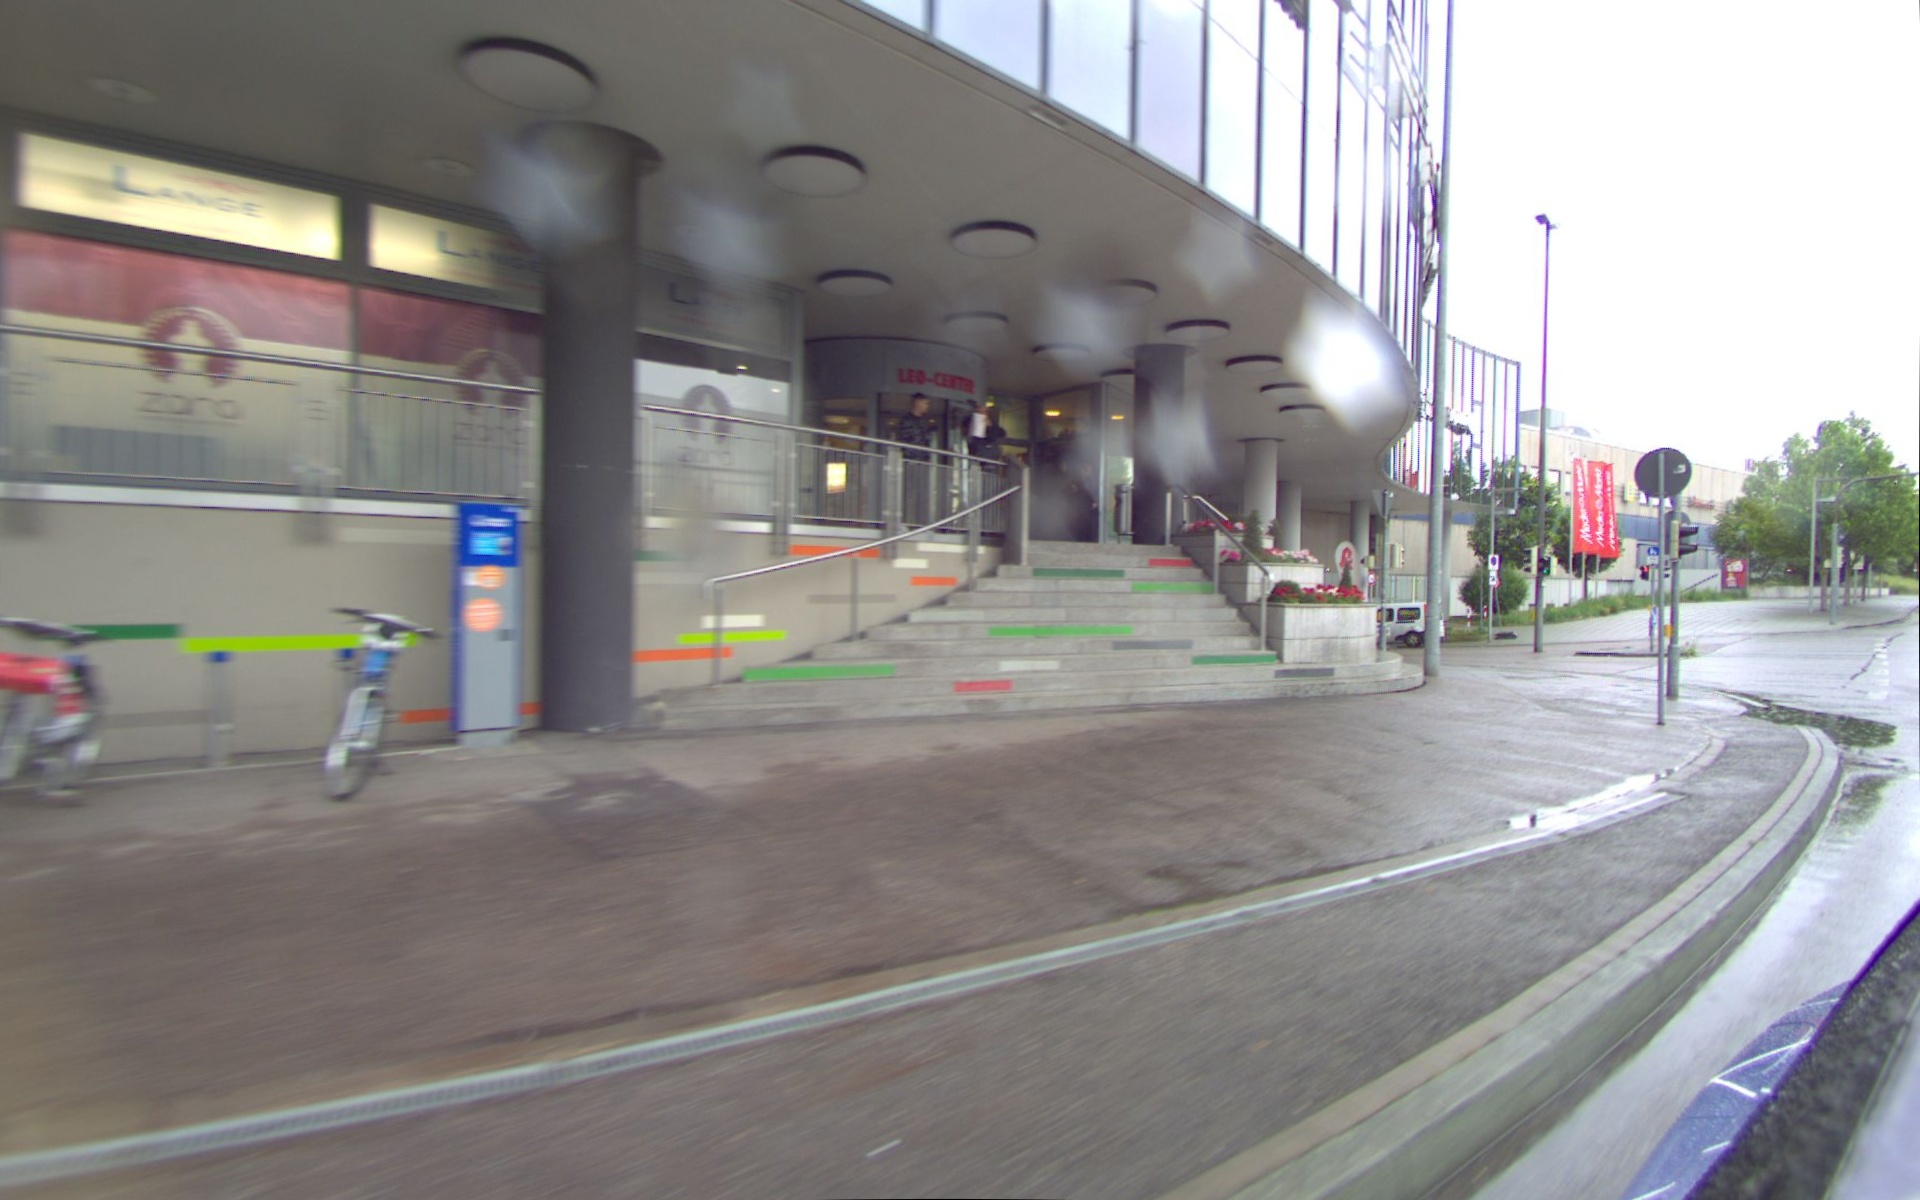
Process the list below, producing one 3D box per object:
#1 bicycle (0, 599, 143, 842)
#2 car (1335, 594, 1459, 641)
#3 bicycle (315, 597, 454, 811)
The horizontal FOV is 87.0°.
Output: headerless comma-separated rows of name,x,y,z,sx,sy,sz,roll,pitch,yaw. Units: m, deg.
bicycle,-5.191,0.589,5.728,0.680,1.124,1.817,0,2,-32
car,17.463,0.687,40.539,1.964,1.782,4.108,0,-1,-39
bicycle,-3.784,0.576,6.592,0.681,1.124,1.837,-1,2,-32
